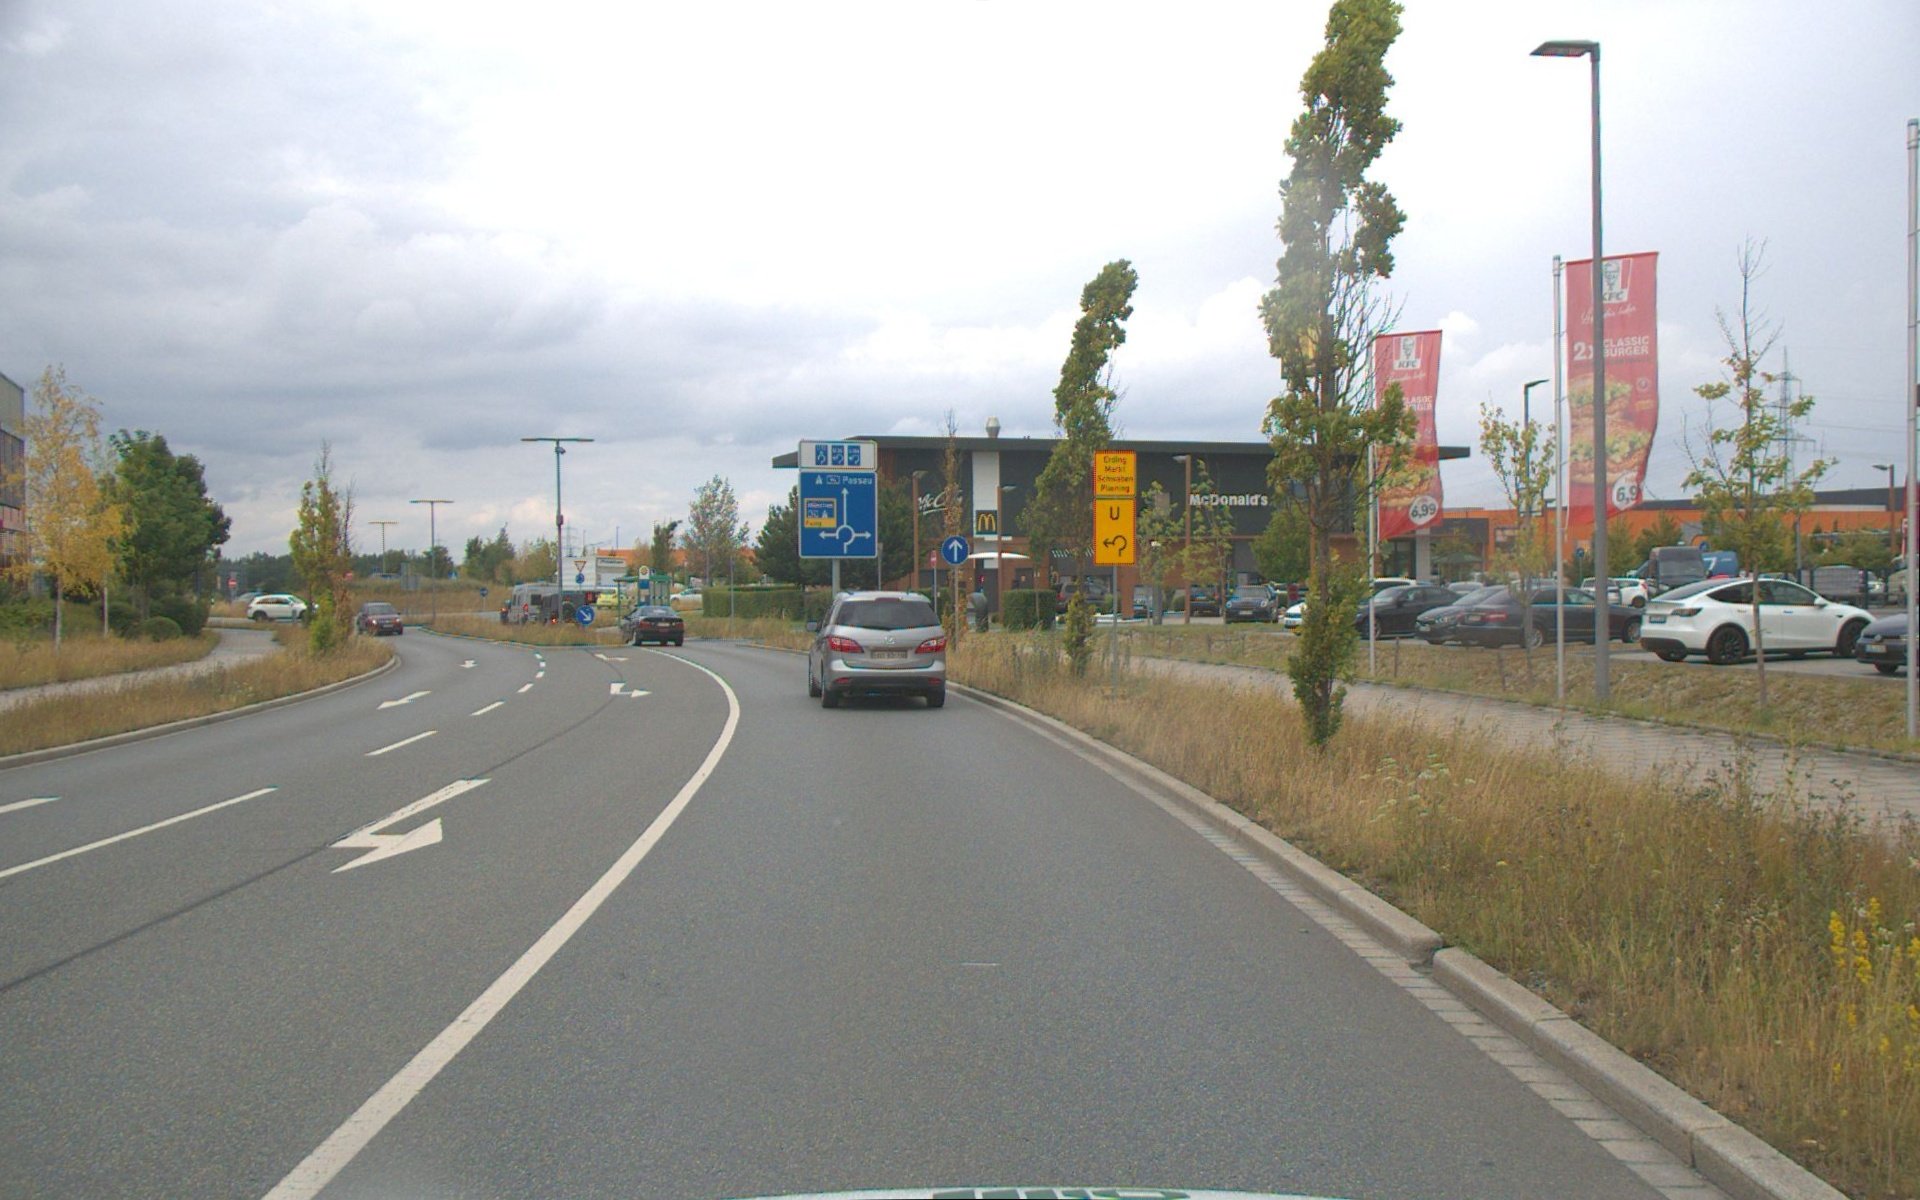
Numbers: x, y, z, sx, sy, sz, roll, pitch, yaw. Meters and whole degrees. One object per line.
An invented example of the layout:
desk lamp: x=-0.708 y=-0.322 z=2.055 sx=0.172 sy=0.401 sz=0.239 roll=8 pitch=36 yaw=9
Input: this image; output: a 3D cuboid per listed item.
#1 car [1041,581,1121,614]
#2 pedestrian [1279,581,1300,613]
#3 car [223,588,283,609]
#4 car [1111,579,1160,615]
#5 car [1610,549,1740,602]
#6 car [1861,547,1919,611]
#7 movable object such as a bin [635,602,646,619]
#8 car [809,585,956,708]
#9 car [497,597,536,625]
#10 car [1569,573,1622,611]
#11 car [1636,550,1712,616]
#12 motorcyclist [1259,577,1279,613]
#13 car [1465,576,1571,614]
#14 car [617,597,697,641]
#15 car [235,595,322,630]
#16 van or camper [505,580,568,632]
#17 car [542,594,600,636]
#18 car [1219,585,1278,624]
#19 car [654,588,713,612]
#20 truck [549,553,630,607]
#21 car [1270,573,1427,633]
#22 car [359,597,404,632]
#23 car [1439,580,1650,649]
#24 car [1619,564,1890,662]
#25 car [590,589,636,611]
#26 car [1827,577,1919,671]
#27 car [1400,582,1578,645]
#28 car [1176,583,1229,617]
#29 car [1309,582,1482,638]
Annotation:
car: x=6.663 y=-0.142 z=90.947 sx=3.934 sy=1.747 sz=1.986 roll=0 pitch=0 yaw=-24
pedestrian: x=15.352 y=-0.145 z=77.022 sx=0.755 sy=1.464 sz=0.621 roll=-1 pitch=0 yaw=36
car: x=-54.860 y=-0.136 z=128.367 sx=3.917 sy=1.431 sz=1.842 roll=-3 pitch=1 yaw=-11
car: x=8.917 y=-0.162 z=83.812 sx=1.951 sy=1.747 sz=4.003 roll=0 pitch=0 yaw=14
car: x=36.235 y=-1.220 z=83.843 sx=5.909 sy=2.572 sz=2.279 roll=-1 pitch=1 yaw=27
car: x=37.647 y=-0.859 z=64.984 sx=2.473 sy=2.392 sz=5.697 roll=-1 pitch=1 yaw=13
movable object such as a bin: x=-15.199 y=0.504 z=78.624 sx=0.450 sy=0.812 sz=0.377 roll=-1 pitch=0 yaw=-24
car: x=-1.197 y=0.609 z=23.945 sx=1.698 sy=1.628 sz=3.798 roll=0 pitch=0 yaw=-10
car: x=-26.415 y=0.642 z=98.568 sx=1.958 sy=1.542 sz=3.989 roll=-1 pitch=0 yaw=-11
car: x=26.210 y=-0.332 z=68.289 sx=1.909 sy=1.468 sz=4.220 roll=-1 pitch=0 yaw=19
car: x=29.493 y=-0.743 z=68.505 sx=2.226 sy=2.545 sz=7.332 roll=-1 pitch=1 yaw=19
motorcyclist: x=16.059 y=-0.266 z=85.969 sx=0.940 sy=1.864 sz=0.846 roll=0 pitch=0 yaw=15
car: x=25.946 y=-0.230 z=77.052 sx=4.618 sy=1.685 sz=2.001 roll=-1 pitch=0 yaw=18
car: x=-10.510 y=0.626 z=57.110 sx=1.820 sy=1.443 sz=4.194 roll=-1 pitch=1 yaw=-23
car: x=-42.038 y=0.752 z=102.137 sx=4.518 sy=2.049 sz=1.999 roll=-1 pitch=0 yaw=-4
van or camper: x=-21.579 y=0.273 z=84.132 sx=2.273 sy=2.550 sz=5.166 roll=0 pitch=0 yaw=-24
car: x=-18.111 y=0.688 z=76.784 sx=2.029 sy=1.858 sz=4.756 roll=-1 pitch=0 yaw=-21
car: x=10.663 y=0.152 z=60.951 sx=1.773 sy=1.336 sz=3.852 roll=-1 pitch=1 yaw=16
car: x=-22.124 y=-0.007 z=132.370 sx=4.523 sy=1.788 sz=1.993 roll=-1 pitch=0 yaw=-13
truck: x=-28.824 y=-1.500 z=128.364 sx=3.105 sy=3.975 sz=9.227 roll=-1 pitch=0 yaw=-33
car: x=11.683 y=0.065 z=49.733 sx=4.287 sy=1.668 sz=1.925 roll=-1 pitch=1 yaw=-22
car: x=-30.564 y=0.788 z=87.352 sx=1.776 sy=1.698 sz=4.293 roll=-4 pitch=1 yaw=-24
car: x=13.970 y=0.319 z=39.587 sx=4.445 sy=1.494 sz=2.023 roll=-1 pitch=1 yaw=-17
car: x=15.700 y=0.241 z=32.774 sx=4.481 sy=1.673 sz=2.082 roll=-3 pitch=0 yaw=-12
car: x=-24.537 y=-0.014 z=117.071 sx=1.951 sy=1.542 sz=4.003 roll=-1 pitch=0 yaw=7
car: x=17.073 y=0.336 z=27.901 sx=3.912 sy=1.510 sz=1.937 roll=-2 pitch=0 yaw=-8
car: x=13.588 y=0.320 z=42.536 sx=4.021 sy=1.463 sz=1.933 roll=-2 pitch=1 yaw=-18
car: x=12.584 y=-0.014 z=85.706 sx=2.071 sy=1.747 sz=4.233 roll=0 pitch=0 yaw=17
car: x=12.453 y=0.258 z=47.344 sx=4.401 sy=1.461 sz=2.062 roll=-1 pitch=1 yaw=-20
